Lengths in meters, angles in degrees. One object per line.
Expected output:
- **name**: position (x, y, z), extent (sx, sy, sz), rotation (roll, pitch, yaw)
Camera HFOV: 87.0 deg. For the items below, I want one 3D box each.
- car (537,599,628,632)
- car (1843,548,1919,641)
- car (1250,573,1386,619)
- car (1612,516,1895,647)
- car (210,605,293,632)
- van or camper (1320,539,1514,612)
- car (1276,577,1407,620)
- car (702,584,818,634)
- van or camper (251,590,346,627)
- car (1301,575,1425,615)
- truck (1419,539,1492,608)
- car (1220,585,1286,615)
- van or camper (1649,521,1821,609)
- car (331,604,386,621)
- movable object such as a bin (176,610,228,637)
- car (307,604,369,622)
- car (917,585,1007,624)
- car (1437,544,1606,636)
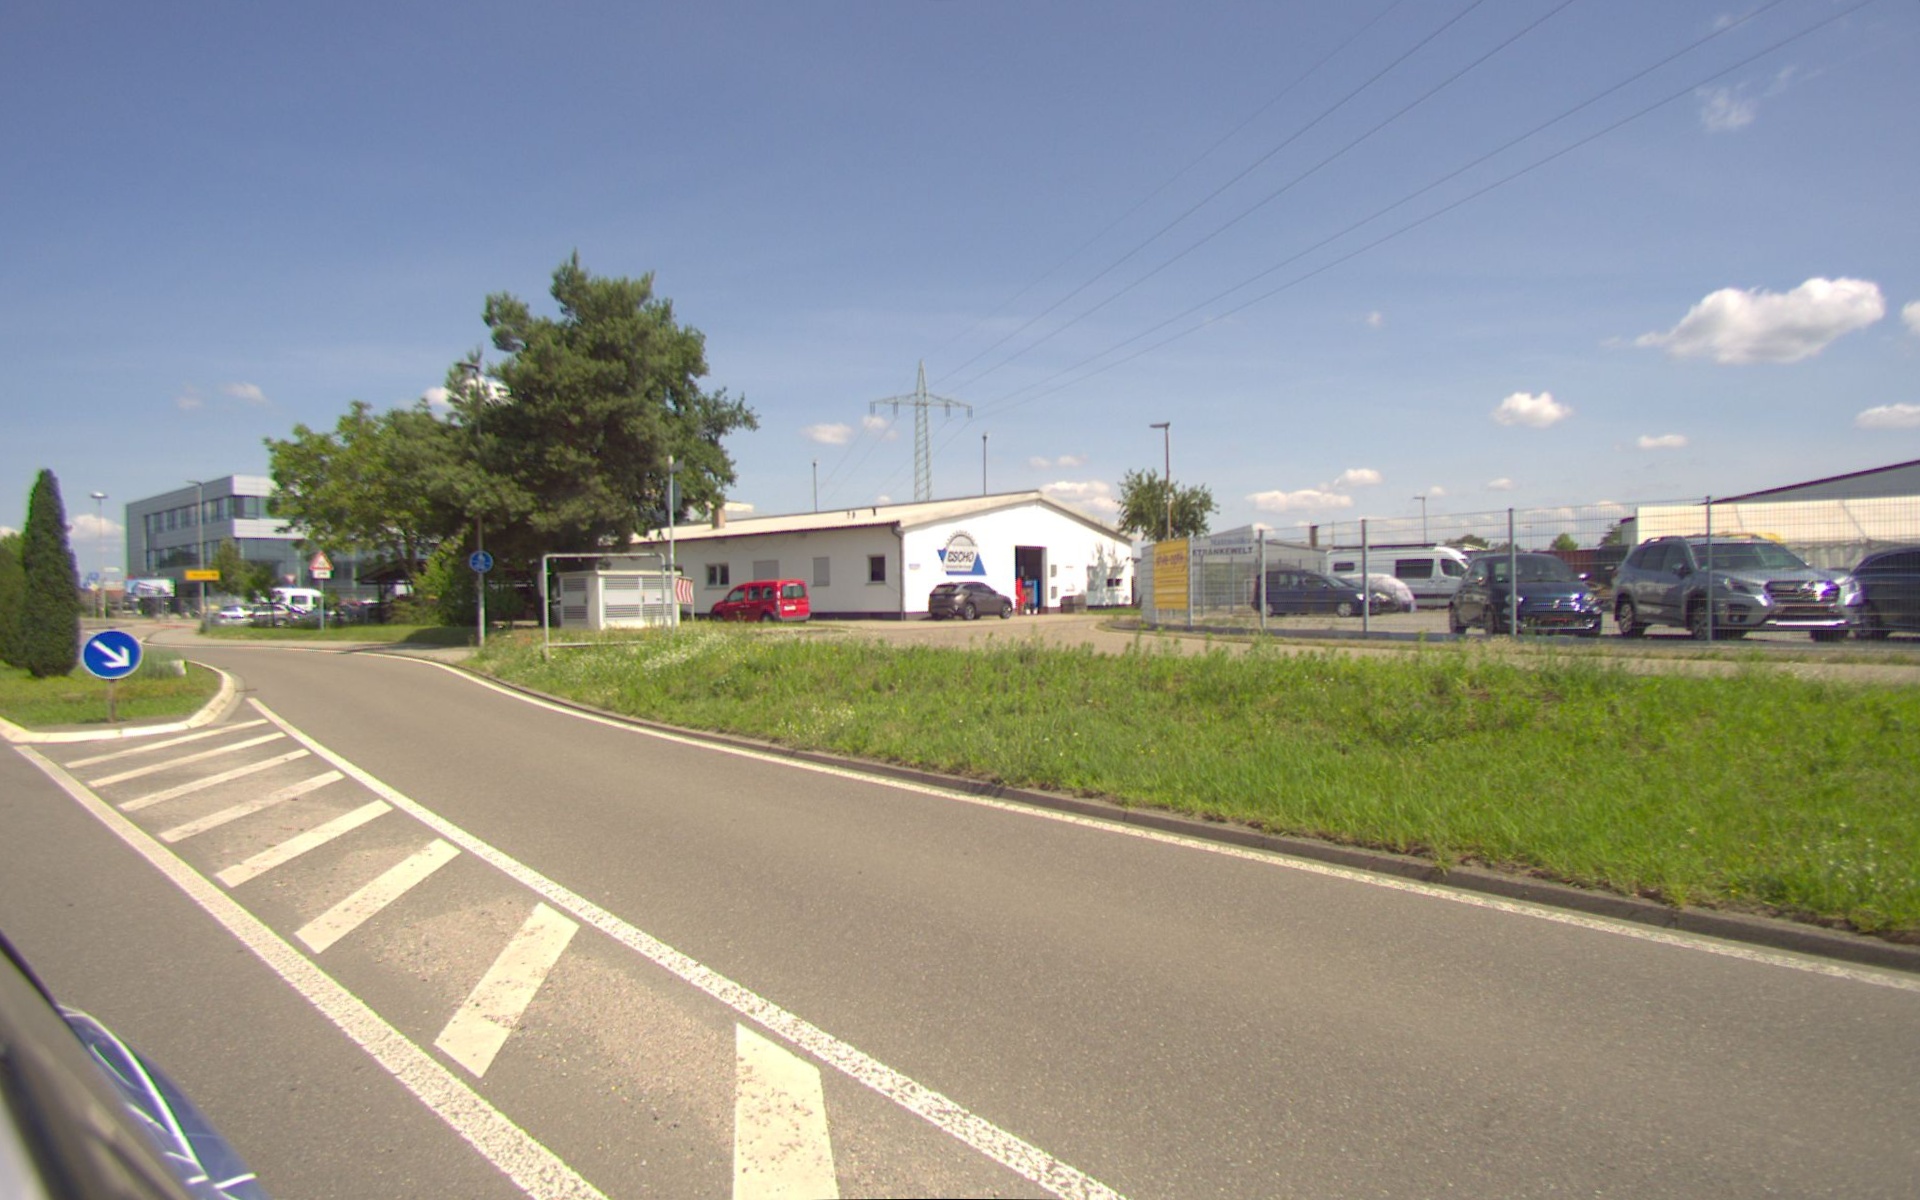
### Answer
- **car**: position (-17.661, 0.736, 47.266), extent (4.511, 1.419, 1.974), rotation (-1, 0, 39)
- **car**: position (14.520, -0.099, 13.821), extent (1.922, 1.320, 3.986), rotation (-1, 0, 11)
- **car**: position (12.133, -0.120, 34.381), extent (3.990, 1.444, 1.903), rotation (-1, 0, 35)
- **car**: position (11.976, -0.269, 15.664), extent (1.705, 1.717, 4.095), rotation (-2, 0, 11)
- **car**: position (-43.499, 1.134, 62.147), extent (3.940, 1.530, 2.002), rotation (-1, 0, -44)
- **van or camper**: position (18.058, -0.891, 40.295), extent (6.765, 2.619, 1.973), rotation (-1, 0, 41)
- **car**: position (13.753, -0.059, 36.590), extent (3.997, 1.444, 1.900), rotation (-1, 0, 40)
- **car**: position (-7.522, 0.319, 37.862), extent (4.224, 1.758, 1.974), rotation (-1, 0, 39)
- **van or camper**: position (-48.125, 0.575, 73.773), extent (5.492, 2.516, 2.086), rotation (-1, 1, -23)
- **car**: position (15.392, -0.178, 38.702), extent (3.997, 1.444, 1.900), rotation (-1, 0, 40)
- **truck**: position (34.717, -1.835, 70.745), extent (2.842, 4.551, 8.485), rotation (-1, 0, 38)
- **car**: position (16.824, -0.034, 57.981), extent (1.997, 1.566, 4.753), rotation (-1, 0, 38)
- **van or camper**: position (23.176, -0.988, 30.568), extent (1.874, 2.393, 5.322), rotation (-1, 0, 11)
- **car**: position (-50.849, 1.064, 85.609), extent (3.679, 1.331, 1.906), rotation (-1, 1, -16)
- **movable object such as a bin**: position (-73.607, 2.249, 98.283), extent (5.440, 2.428, 2.150), rotation (0, 1, 31)
- **car**: position (-51.139, 1.082, 83.273), extent (3.932, 1.331, 2.006), rotation (-1, 1, -16)
- **car**: position (0.135, 0.175, 43.037), extent (1.932, 1.536, 3.953), rotation (-1, 1, 35)
- **car**: position (9.652, -0.169, 17.692), extent (1.785, 1.412, 3.552), rotation (-1, 1, 16)
